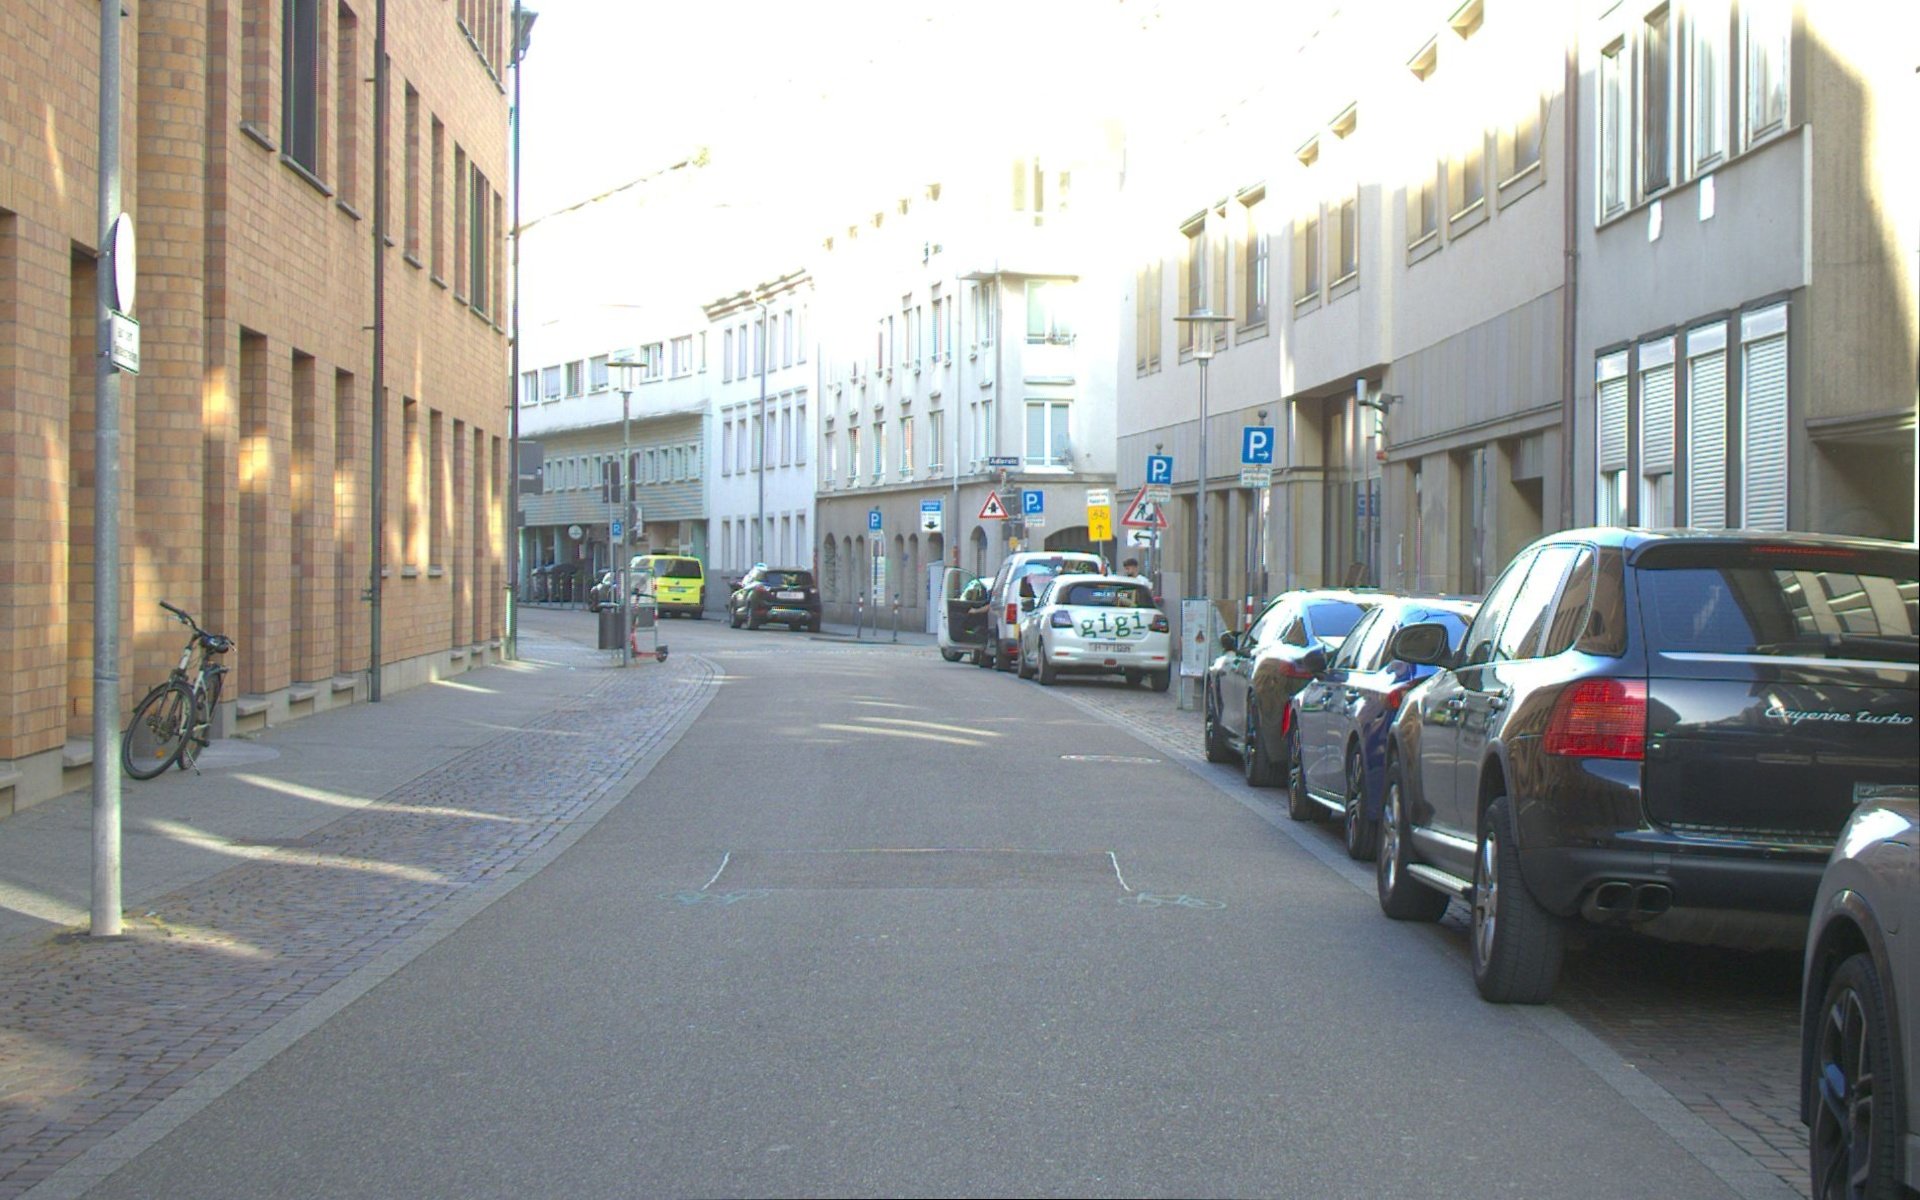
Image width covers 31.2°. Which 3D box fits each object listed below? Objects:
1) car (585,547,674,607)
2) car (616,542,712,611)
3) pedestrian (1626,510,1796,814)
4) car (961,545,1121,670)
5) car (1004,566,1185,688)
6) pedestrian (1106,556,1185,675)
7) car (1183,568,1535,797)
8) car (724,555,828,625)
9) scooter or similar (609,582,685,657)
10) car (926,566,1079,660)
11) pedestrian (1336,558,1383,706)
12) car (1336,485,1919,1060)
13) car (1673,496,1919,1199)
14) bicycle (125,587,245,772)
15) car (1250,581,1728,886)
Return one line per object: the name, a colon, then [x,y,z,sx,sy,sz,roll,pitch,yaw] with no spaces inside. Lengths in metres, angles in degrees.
car: [-10.631,-0.747,110.410,2.052,1.866,4.101,1,1,-17]
car: [-9.035,-0.736,104.736,2.052,2.007,4.176,1,1,-17]
pedestrian: [4.346,0.349,19.936,0.788,1.715,0.746,-1,1,0]
car: [1.194,0.086,53.041,1.830,1.785,5.215,2,0,-5]
car: [1.774,0.328,46.762,1.840,1.473,4.169,3,1,-5]
pedestrian: [2.860,0.236,53.090,1.042,1.795,1.199,1,0,-5]
car: [2.845,0.530,25.671,1.894,1.448,5.226,2,1,-1]
car: [-4.771,-0.282,88.642,1.967,1.686,4.102,2,0,-12]
scooter or similar: [-5.173,0.308,56.803,0.698,1.213,1.355,0,1,23]
car: [0.691,0.201,58.965,1.888,1.513,4.064,1,0,-10]
pedestrian: [4.492,0.351,38.644,0.481,1.649,0.538,0,0,11]
car: [2.814,0.532,13.452,2.103,1.779,5.052,2,1,0]
car: [2.796,0.706,6.050,1.993,1.696,4.843,3,1,0]
bicycle: [-5.316,0.524,23.646,0.631,1.158,1.804,4,1,-9]
car: [2.858,0.656,19.637,1.807,1.408,4.790,3,1,-1]
